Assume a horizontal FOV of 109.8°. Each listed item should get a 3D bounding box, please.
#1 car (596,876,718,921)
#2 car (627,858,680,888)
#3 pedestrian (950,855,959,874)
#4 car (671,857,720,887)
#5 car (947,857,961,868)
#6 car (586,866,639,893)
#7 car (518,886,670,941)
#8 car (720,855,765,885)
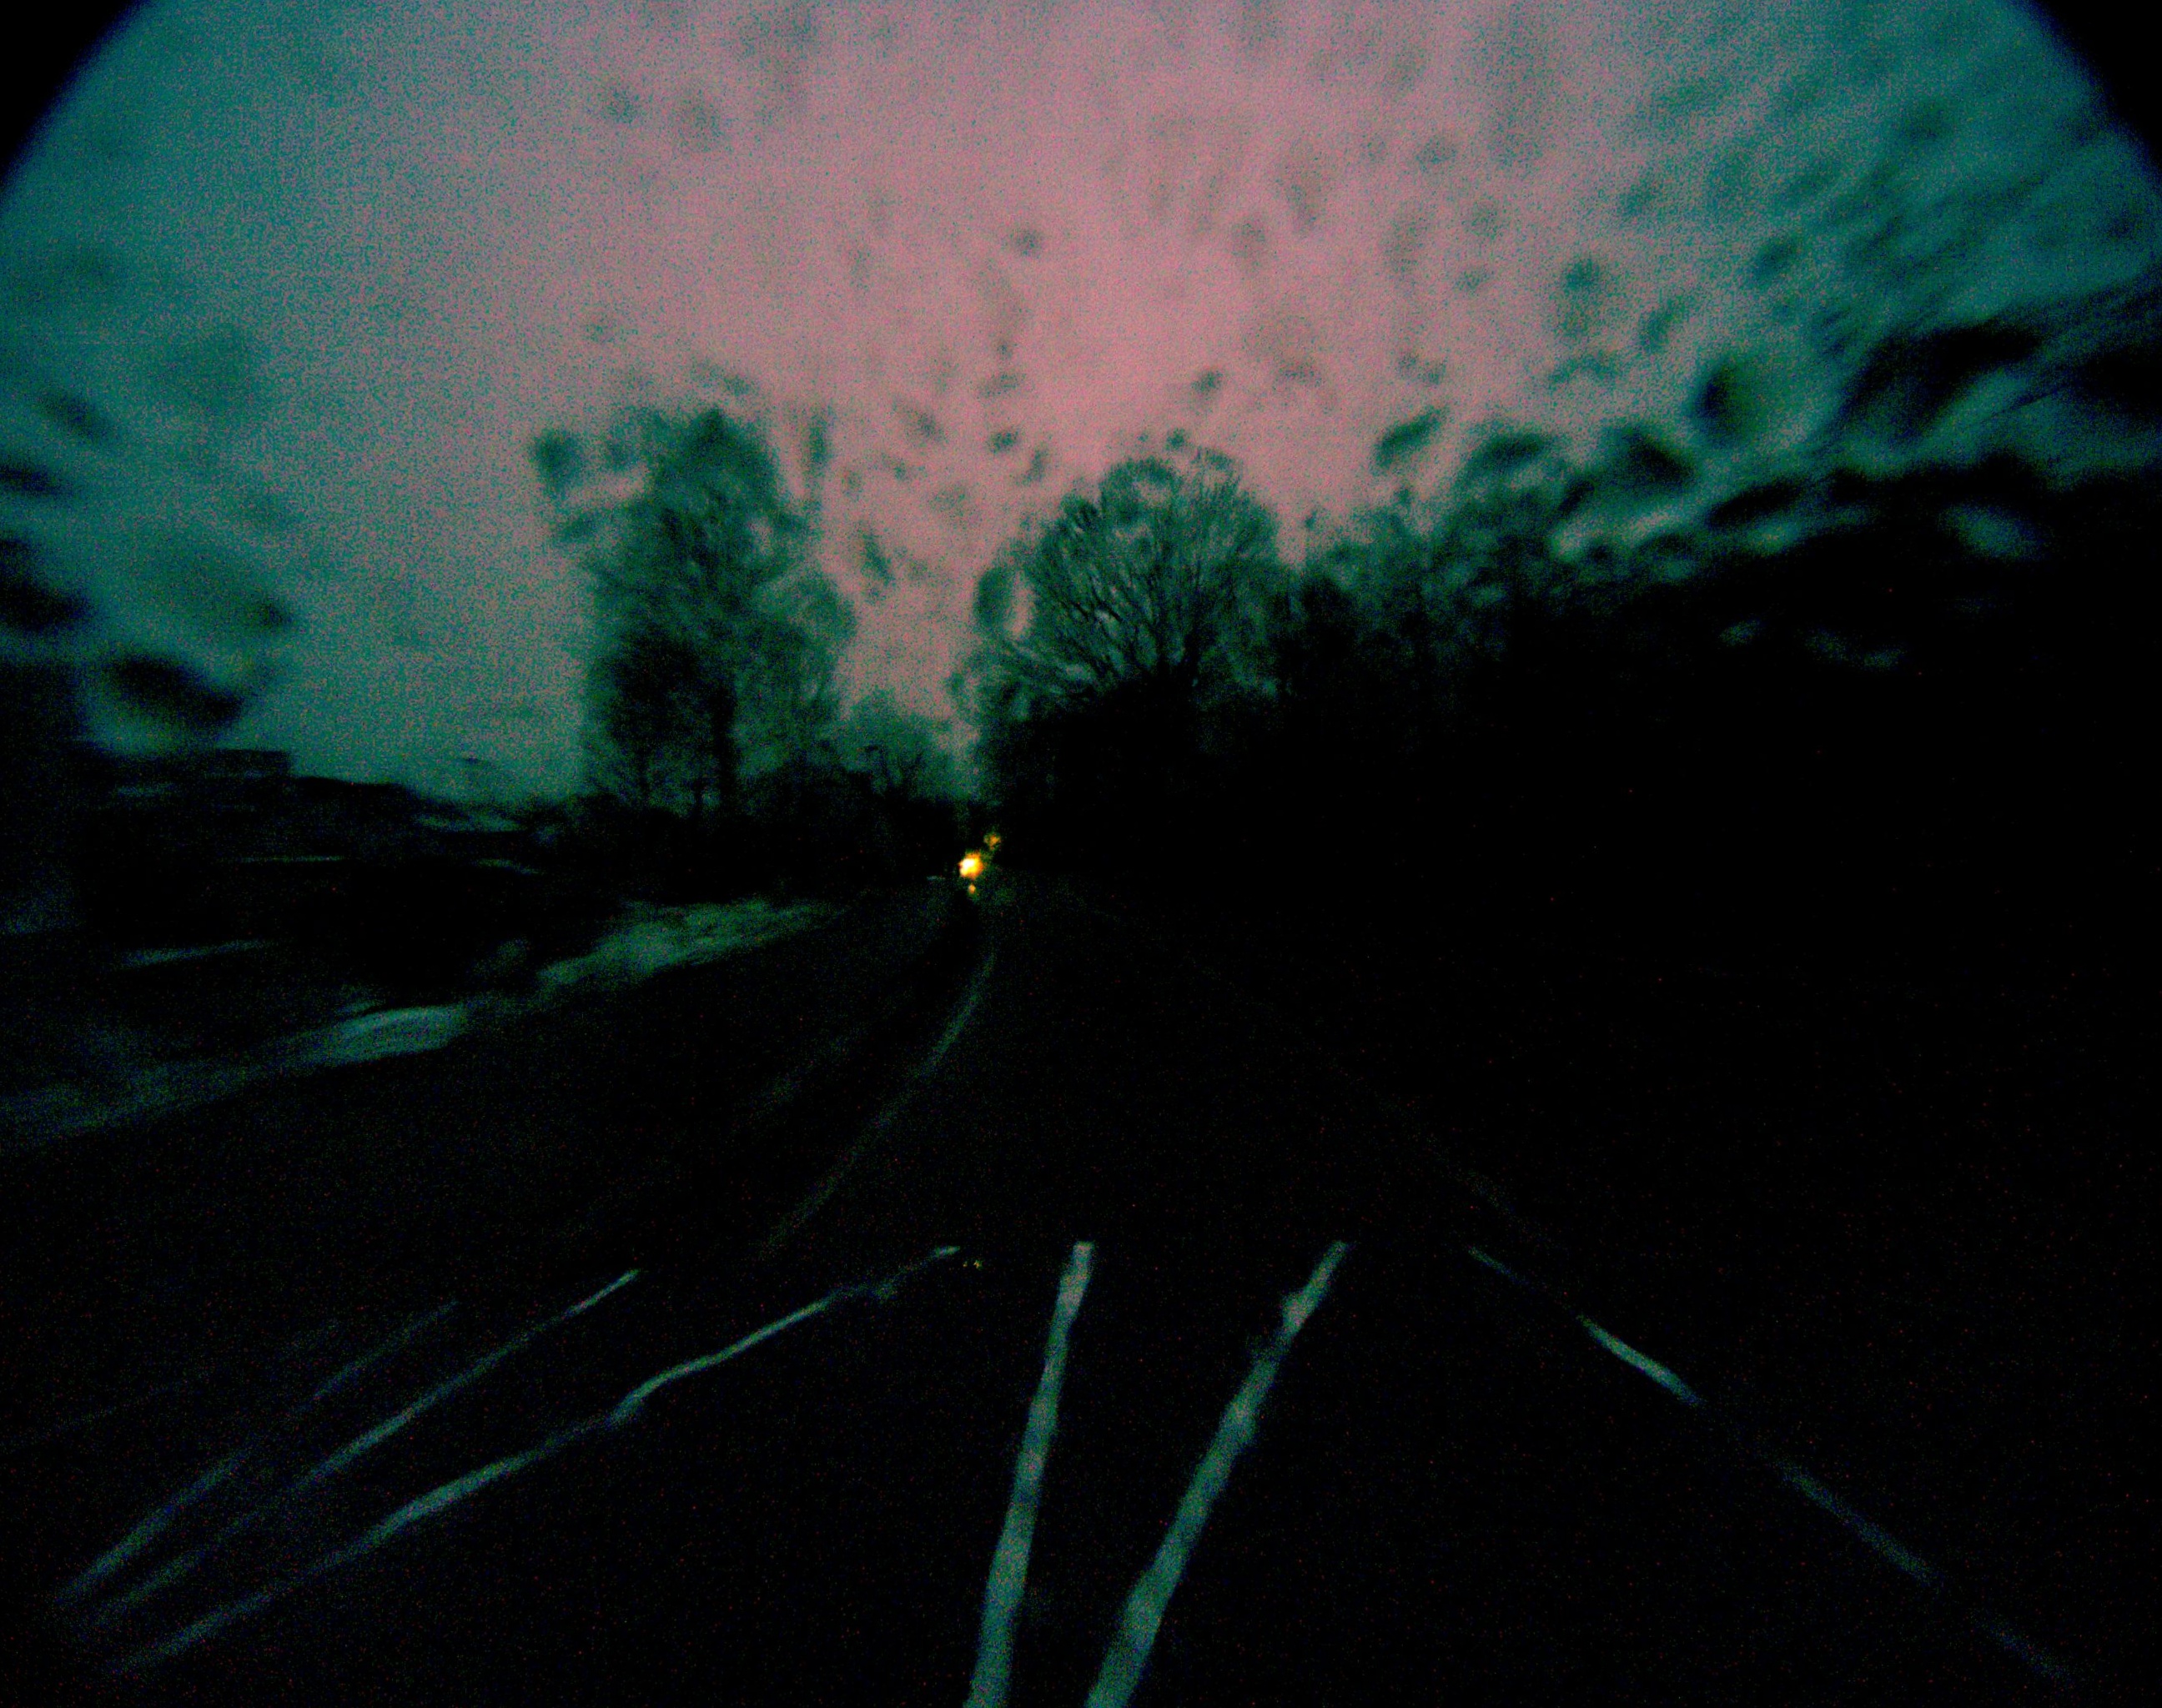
[{"bbox_3d":[-16.550,1.716,29.809,3.796,1.587,1.801,-1,0,-12],"label":"car"},{"bbox_3d":[-26.213,1.126,46.666,1.643,1.465,3.733,-1,4,-10],"label":"car"},{"bbox_3d":[-10.979,0.940,65.995,0.746,1.645,0.969,-1,0,-11],"label":"pedestrian"},{"bbox_3d":[-23.381,1.069,46.208,1.643,1.465,3.733,-1,4,-10],"label":"car"},{"bbox_3d":[-20.210,1.342,121.087,1.710,1.497,4.018,-2,1,-16],"label":"car"},{"bbox_3d":[-28.013,1.498,45.540,1.474,1.271,3.394,-1,4,-10],"label":"car"},{"bbox_3d":[-15.821,1.900,24.884,3.796,1.587,1.801,-1,0,-12],"label":"car"},{"bbox_3d":[-20.749,0.954,46.696,1.643,1.465,3.733,-1,4,-10],"label":"car"}]
